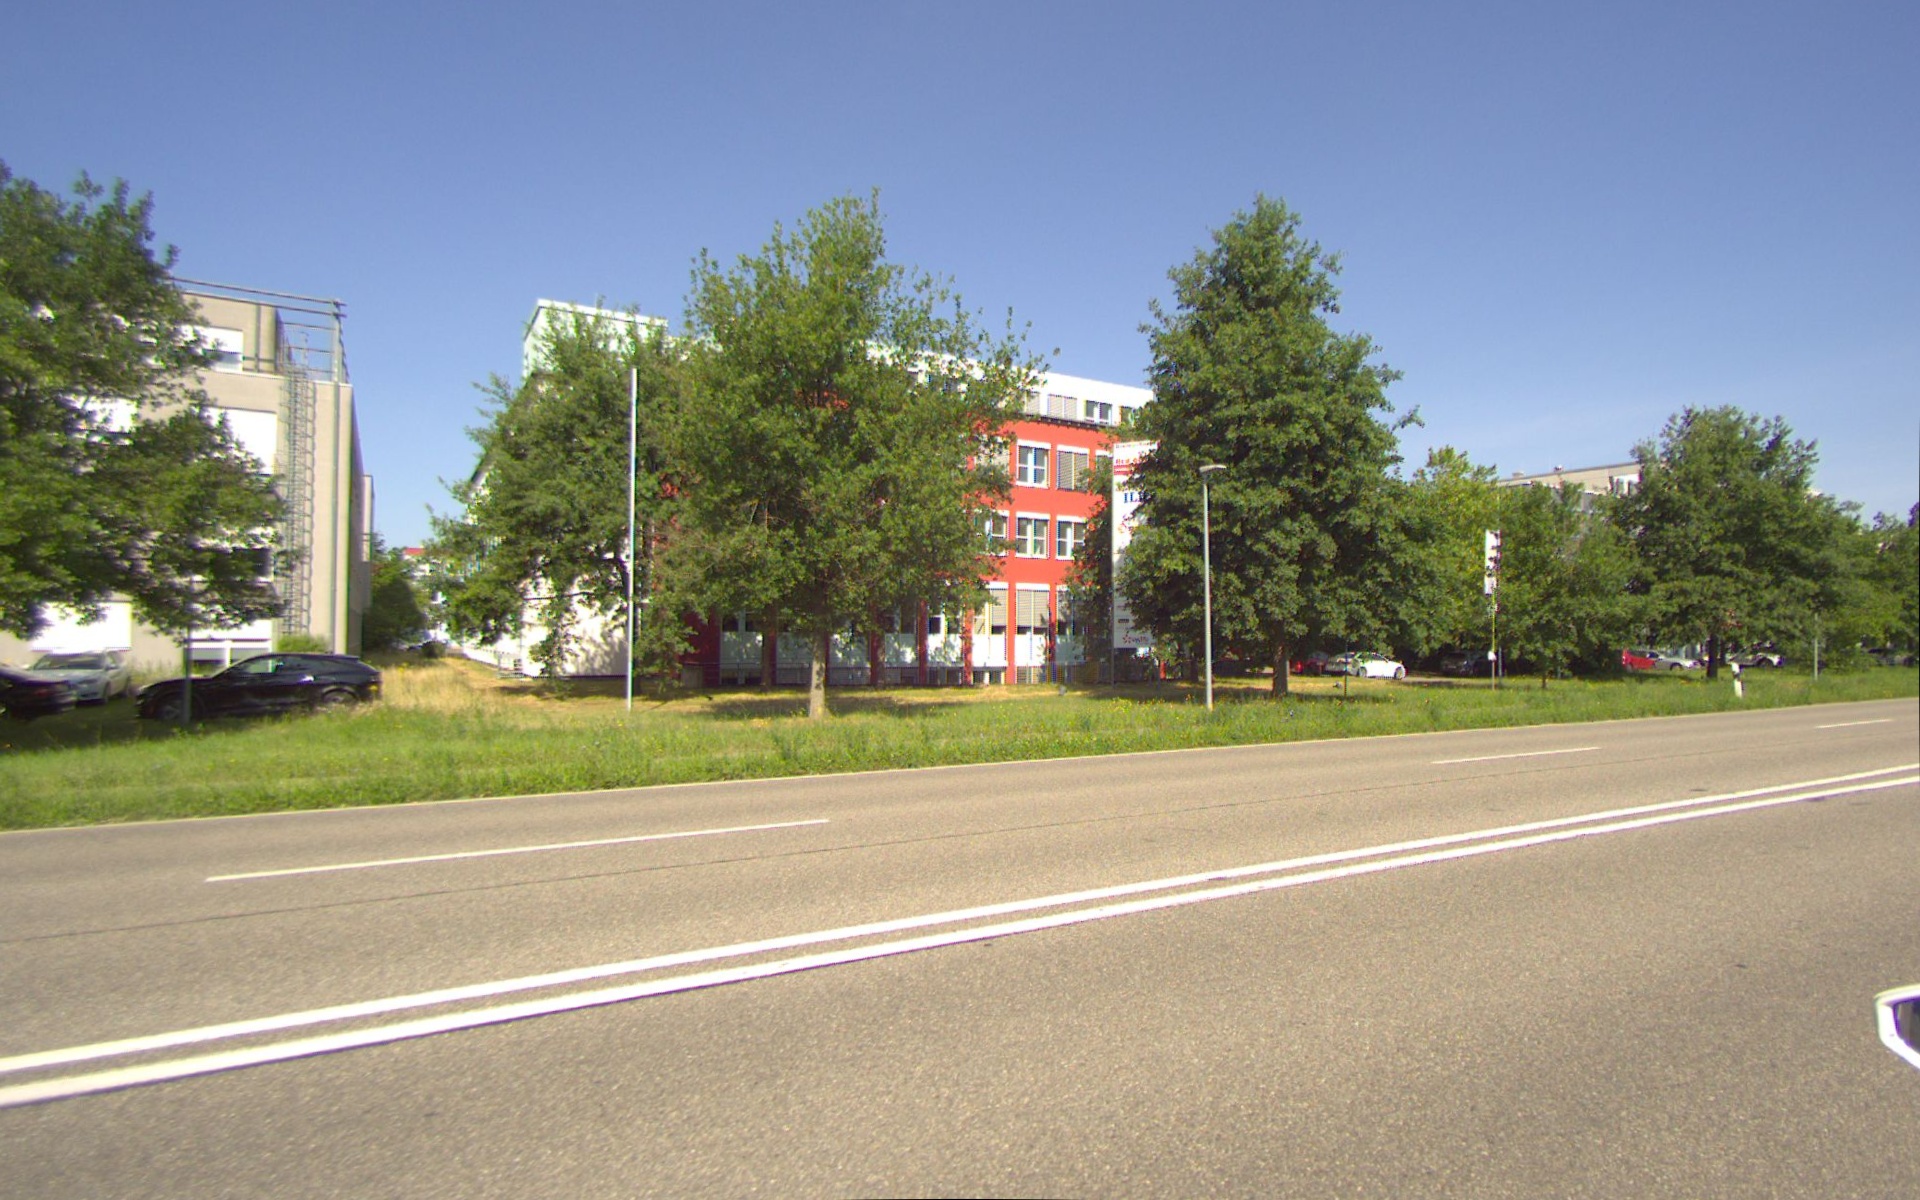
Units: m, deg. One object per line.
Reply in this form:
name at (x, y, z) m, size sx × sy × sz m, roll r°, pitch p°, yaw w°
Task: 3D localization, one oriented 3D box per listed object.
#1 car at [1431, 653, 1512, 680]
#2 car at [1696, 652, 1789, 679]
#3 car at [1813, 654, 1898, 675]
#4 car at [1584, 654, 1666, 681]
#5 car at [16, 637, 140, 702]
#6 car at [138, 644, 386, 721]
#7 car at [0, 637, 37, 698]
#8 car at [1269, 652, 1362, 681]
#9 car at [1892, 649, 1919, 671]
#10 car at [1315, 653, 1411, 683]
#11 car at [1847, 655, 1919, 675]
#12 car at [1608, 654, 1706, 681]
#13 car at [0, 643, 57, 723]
car at (29.171, 3.773, 57.243) m, size 4.556 × 1.456 × 1.984 m, roll 2°, pitch -2°, yaw -30°
car at (52.808, 4.399, 67.836) m, size 1.976 × 1.672 × 4.574 m, roll 2°, pitch -2°, yaw -29°
car at (70.058, 5.051, 78.661) m, size 1.976 × 1.456 × 4.574 m, roll 2°, pitch -2°, yaw -29°
car at (38.193, 3.834, 57.662) m, size 4.552 × 1.456 × 1.986 m, roll 2°, pitch -2°, yaw -28°
car at (-24.016, 1.852, 27.504) m, size 1.722 × 1.606 × 4.116 m, roll 2°, pitch -2°, yaw -30°
car at (-15.871, 1.846, 23.179) m, size 4.495 × 1.599 × 1.735 m, roll 2°, pitch -2°, yaw -30°
car at (-26.023, 1.753, 26.390) m, size 1.722 × 1.556 × 3.968 m, roll 2°, pitch -2°, yaw -30°
car at (19.097, 3.541, 53.925) m, size 4.893 × 1.456 × 1.986 m, roll 2°, pitch -2°, yaw -28°
car at (81.683, 5.073, 84.390) m, size 1.974 × 1.781 × 4.518 m, roll 2°, pitch -3°, yaw -26°
car at (20.854, 3.482, 51.948) m, size 4.893 × 1.456 × 1.986 m, roll 2°, pitch -2°, yaw -28°
car at (75.571, 5.257, 81.833) m, size 1.976 × 1.456 × 4.574 m, roll 2°, pitch -2°, yaw -29°
car at (42.701, 4.096, 61.623) m, size 1.976 × 1.456 × 4.574 m, roll 2°, pitch -2°, yaw -29°
car at (-21.298, 1.651, 20.076) m, size 4.495 × 1.599 × 1.735 m, roll 2°, pitch -2°, yaw -30°
